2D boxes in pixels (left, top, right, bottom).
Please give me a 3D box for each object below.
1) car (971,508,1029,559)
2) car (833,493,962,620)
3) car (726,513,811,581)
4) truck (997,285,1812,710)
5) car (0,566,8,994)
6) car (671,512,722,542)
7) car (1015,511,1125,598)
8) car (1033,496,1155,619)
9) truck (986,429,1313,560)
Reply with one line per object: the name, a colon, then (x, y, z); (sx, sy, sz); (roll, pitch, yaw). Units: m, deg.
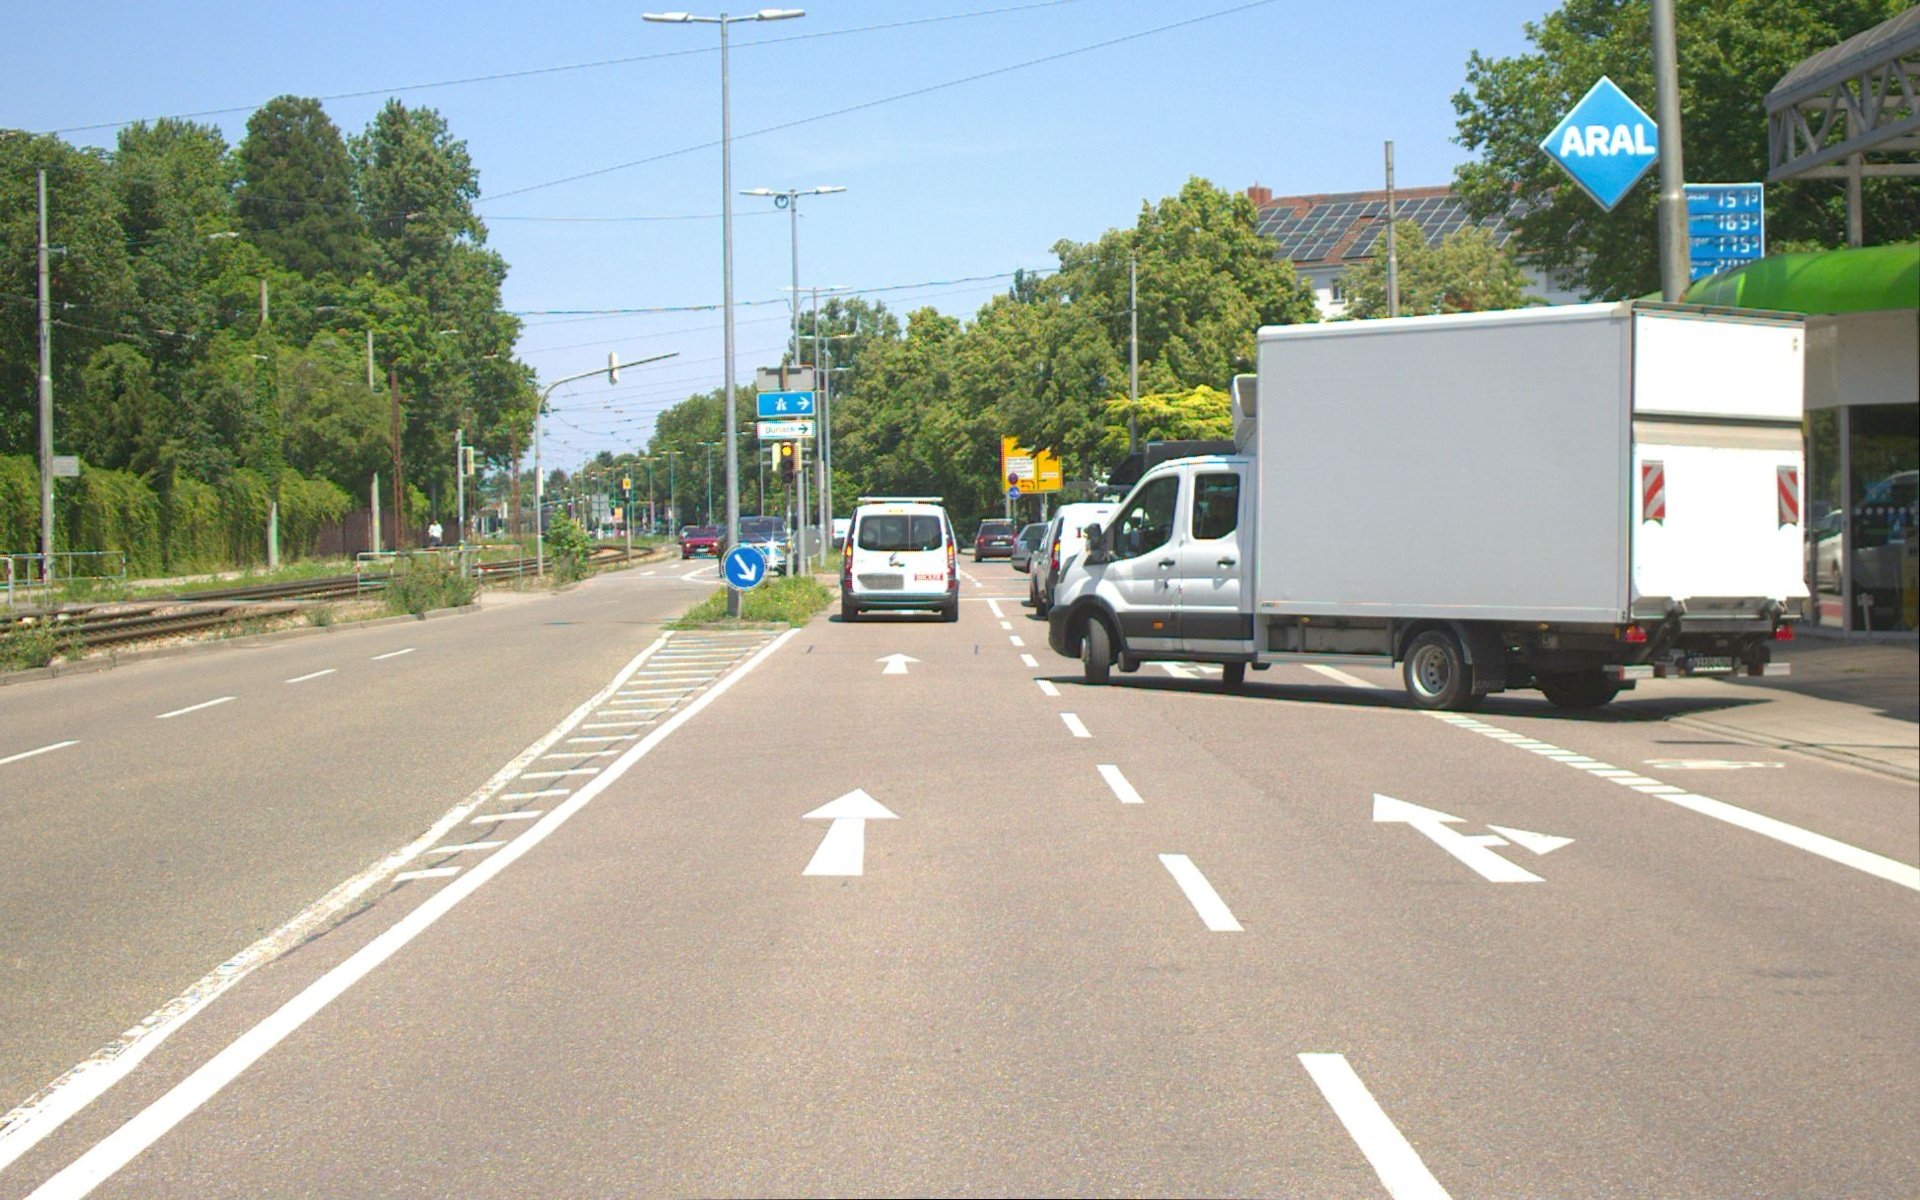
car: (1.465, -2.477, 127.431); (1.993, 1.853, 4.000); (-1, 1, -1)
car: (-0.964, -0.688, 52.392); (1.866, 1.829, 3.849); (1, 1, -1)
car: (-5.370, -1.503, 95.924); (1.993, 1.822, 4.541); (-1, 1, -8)
truck: (3.754, -0.888, 31.127); (2.420, 3.380, 7.831); (-2, 2, -38)
car: (-3.944, 0.651, 9.052); (1.793, 1.394, 4.448); (-1, 1, -2)
car: (-12.259, -3.429, 160.208); (1.984, 1.354, 4.539); (-1, 1, 0)
car: (1.932, -0.835, 61.204); (1.756, 1.481, 4.000); (-1, 1, -1)
car: (2.047, -0.687, 53.420); (1.710, 1.824, 4.014); (-1, 1, 0)
truck: (5.451, -3.017, 99.558); (8.795, 3.620, 3.581); (0, 2, 32)
